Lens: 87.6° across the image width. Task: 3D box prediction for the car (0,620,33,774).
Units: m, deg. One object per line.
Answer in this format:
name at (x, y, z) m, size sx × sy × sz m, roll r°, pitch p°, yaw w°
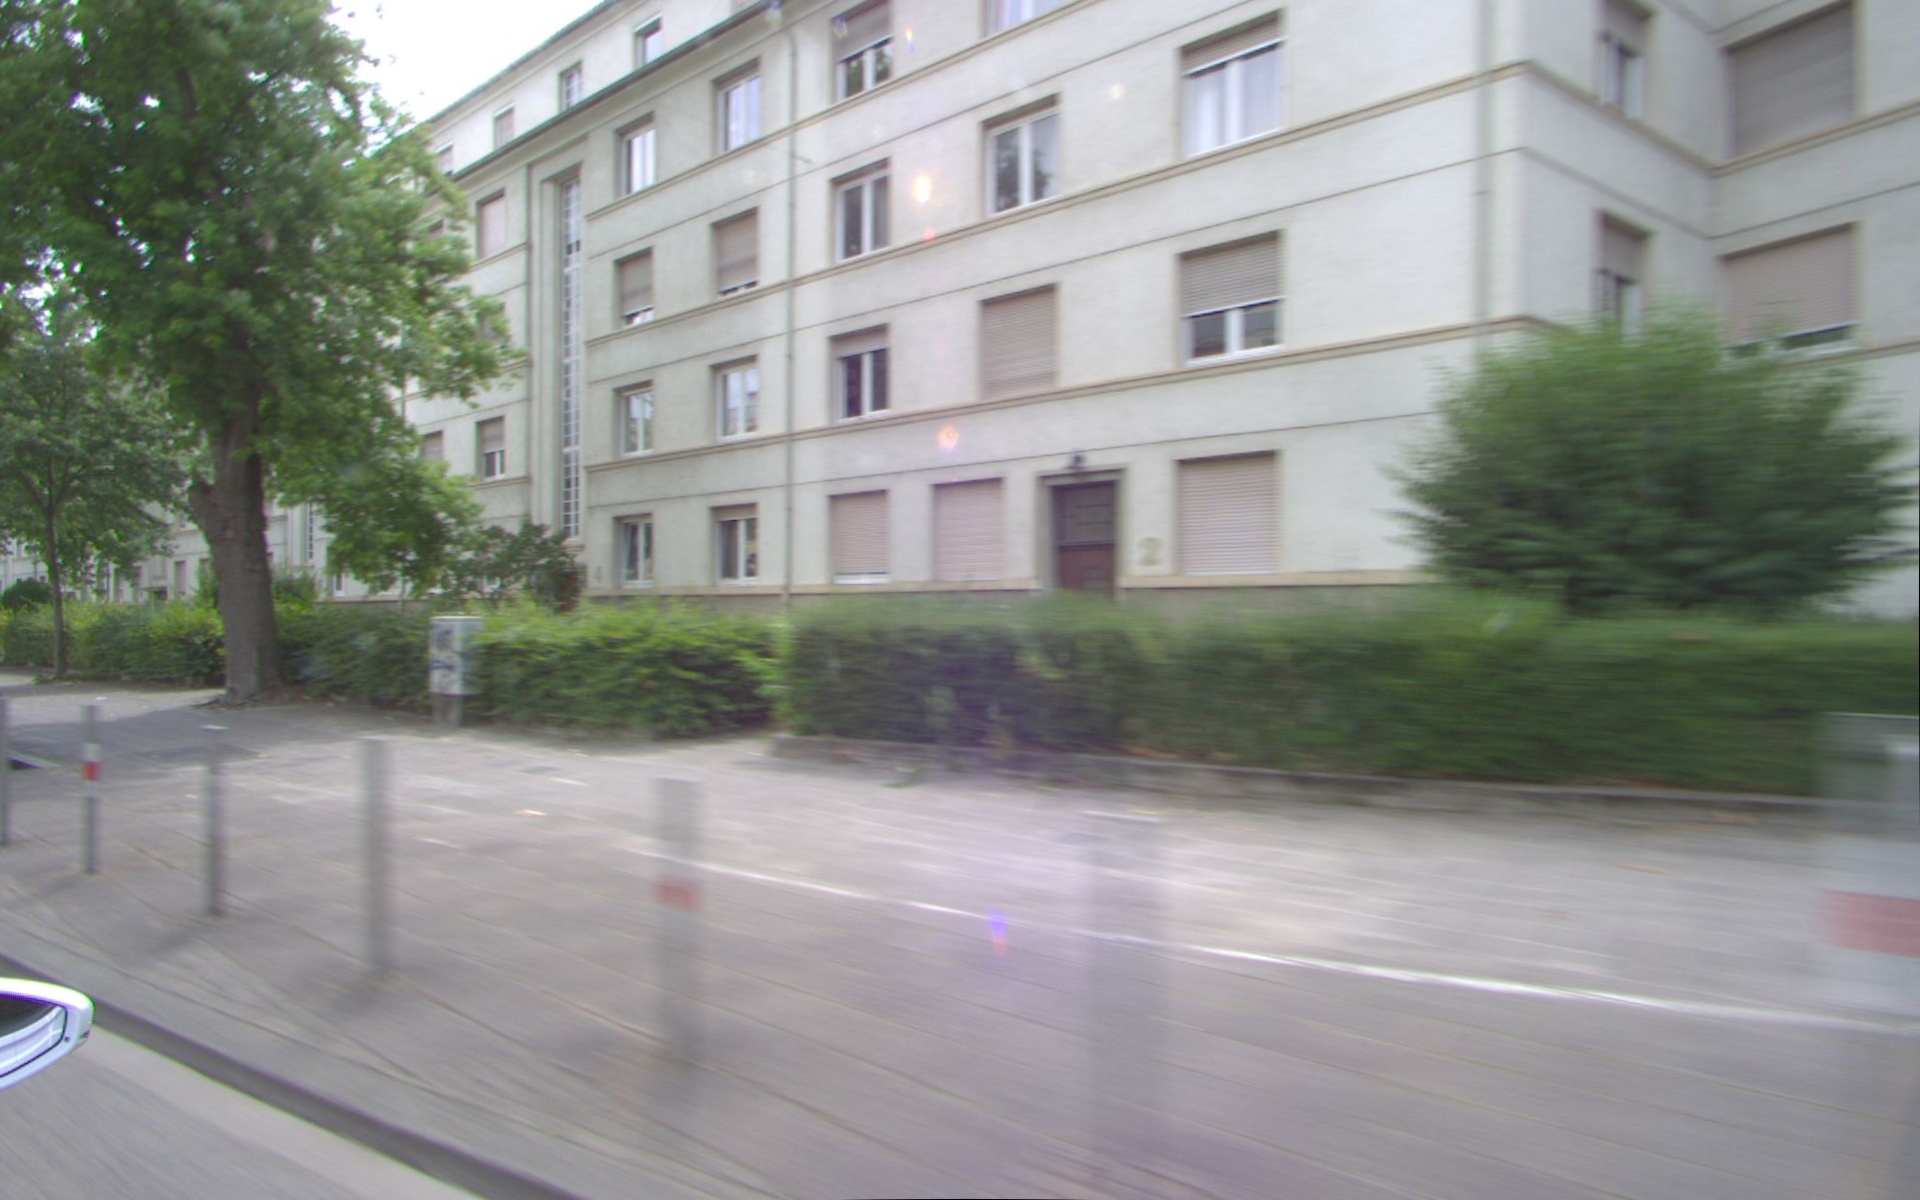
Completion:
car at (-11.233, 0.928, 10.327) m, size 4.188 × 1.462 × 1.910 m, roll -1°, pitch -3°, yaw 40°
